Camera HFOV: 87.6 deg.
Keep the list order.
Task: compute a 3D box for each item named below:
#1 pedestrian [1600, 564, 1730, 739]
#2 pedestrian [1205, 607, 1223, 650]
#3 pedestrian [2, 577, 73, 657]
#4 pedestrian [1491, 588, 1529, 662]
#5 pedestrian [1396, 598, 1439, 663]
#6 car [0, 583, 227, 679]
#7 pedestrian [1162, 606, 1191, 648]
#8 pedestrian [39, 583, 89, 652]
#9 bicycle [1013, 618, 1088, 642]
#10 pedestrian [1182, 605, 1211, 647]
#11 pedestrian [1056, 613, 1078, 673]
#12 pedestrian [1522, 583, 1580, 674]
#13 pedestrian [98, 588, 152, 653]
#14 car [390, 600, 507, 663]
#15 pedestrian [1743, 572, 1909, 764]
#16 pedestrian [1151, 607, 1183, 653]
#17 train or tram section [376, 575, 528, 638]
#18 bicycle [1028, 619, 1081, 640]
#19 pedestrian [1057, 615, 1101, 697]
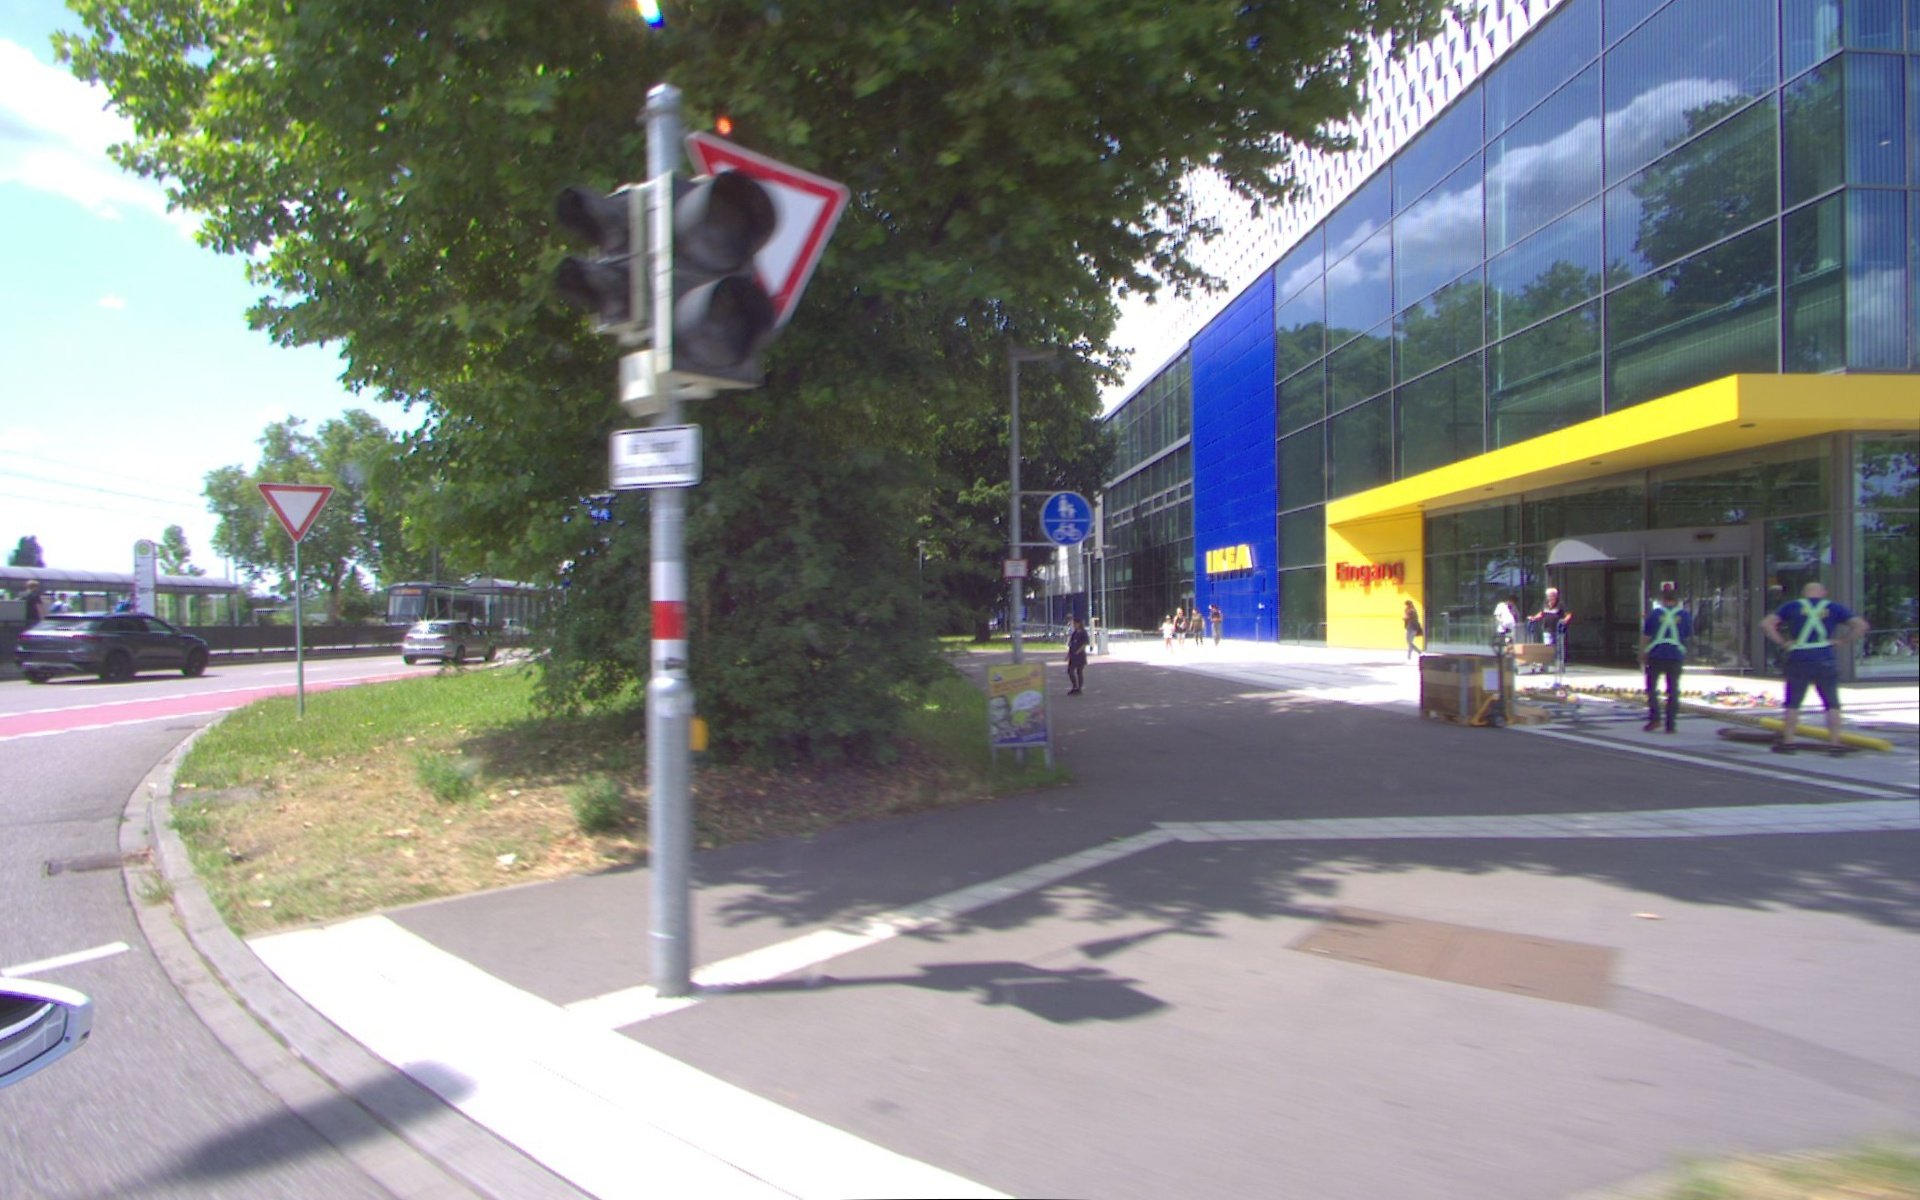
[{"bbox_3d":[8.856,0.637,12.632,0.956,2.099,1.010,-2,0,12],"label":"pedestrian"},{"bbox_3d":[10.079,1.112,39.773,0.480,1.685,0.542,1,1,43],"label":"pedestrian"},{"bbox_3d":[-23.218,0.414,25.220,0.859,1.965,0.994,0,1,-4],"label":"pedestrian"},{"bbox_3d":[14.459,0.659,26.354,0.606,1.911,0.782,-1,0,6],"label":"pedestrian"},{"bbox_3d":[12.203,0.816,26.700,0.793,1.686,0.699,-2,1,-33],"label":"pedestrian"},{"bbox_3d":[-19.482,0.718,23.179,1.961,2.014,4.364,0,-2,-3],"label":"car"},{"bbox_3d":[8.845,1.103,40.900,0.879,1.685,0.778,0,-2,-43],"label":"pedestrian"},{"bbox_3d":[-24.922,0.475,27.862,0.666,1.897,0.872,1,1,28],"label":"pedestrian"},{"bbox_3d":[4.760,1.564,52.632,3.773,1.191,0.984,-2,0,22],"label":"bicycle"},{"bbox_3d":[9.515,1.045,40.301,0.878,1.685,0.778,0,-1,-43],"label":"pedestrian"},{"bbox_3d":[3.079,1.223,28.886,0.581,1.685,0.720,0,0,2],"label":"pedestrian"},{"bbox_3d":[12.698,0.600,21.521,0.961,1.911,0.881,1,0,37],"label":"pedestrian"},{"bbox_3d":[-23.271,0.575,27.923,0.722,1.779,0.930,0,0,-3],"label":"pedestrian"},{"bbox_3d":[-17.419,1.014,34.355,1.961,2.015,4.362,0,0,-3],"label":"car"},{"bbox_3d":[9.158,0.692,10.641,0.956,1.927,1.010,-1,0,12],"label":"pedestrian"},{"bbox_3d":[7.571,1.089,36.695,0.878,1.685,0.778,0,0,-42],"label":"pedestrian"},{"bbox_3d":[-29.120,0.477,58.443,2.988,3.227,14.100,0,-1,-6],"label":"train or tram section"},{"bbox_3d":[5.148,1.615,54.643,2.730,1.136,0.894,-1,0,21],"label":"bicycle"},{"bbox_3d":[2.529,1.183,21.376,0.583,1.686,0.717,-4,2,-22],"label":"pedestrian"}]
